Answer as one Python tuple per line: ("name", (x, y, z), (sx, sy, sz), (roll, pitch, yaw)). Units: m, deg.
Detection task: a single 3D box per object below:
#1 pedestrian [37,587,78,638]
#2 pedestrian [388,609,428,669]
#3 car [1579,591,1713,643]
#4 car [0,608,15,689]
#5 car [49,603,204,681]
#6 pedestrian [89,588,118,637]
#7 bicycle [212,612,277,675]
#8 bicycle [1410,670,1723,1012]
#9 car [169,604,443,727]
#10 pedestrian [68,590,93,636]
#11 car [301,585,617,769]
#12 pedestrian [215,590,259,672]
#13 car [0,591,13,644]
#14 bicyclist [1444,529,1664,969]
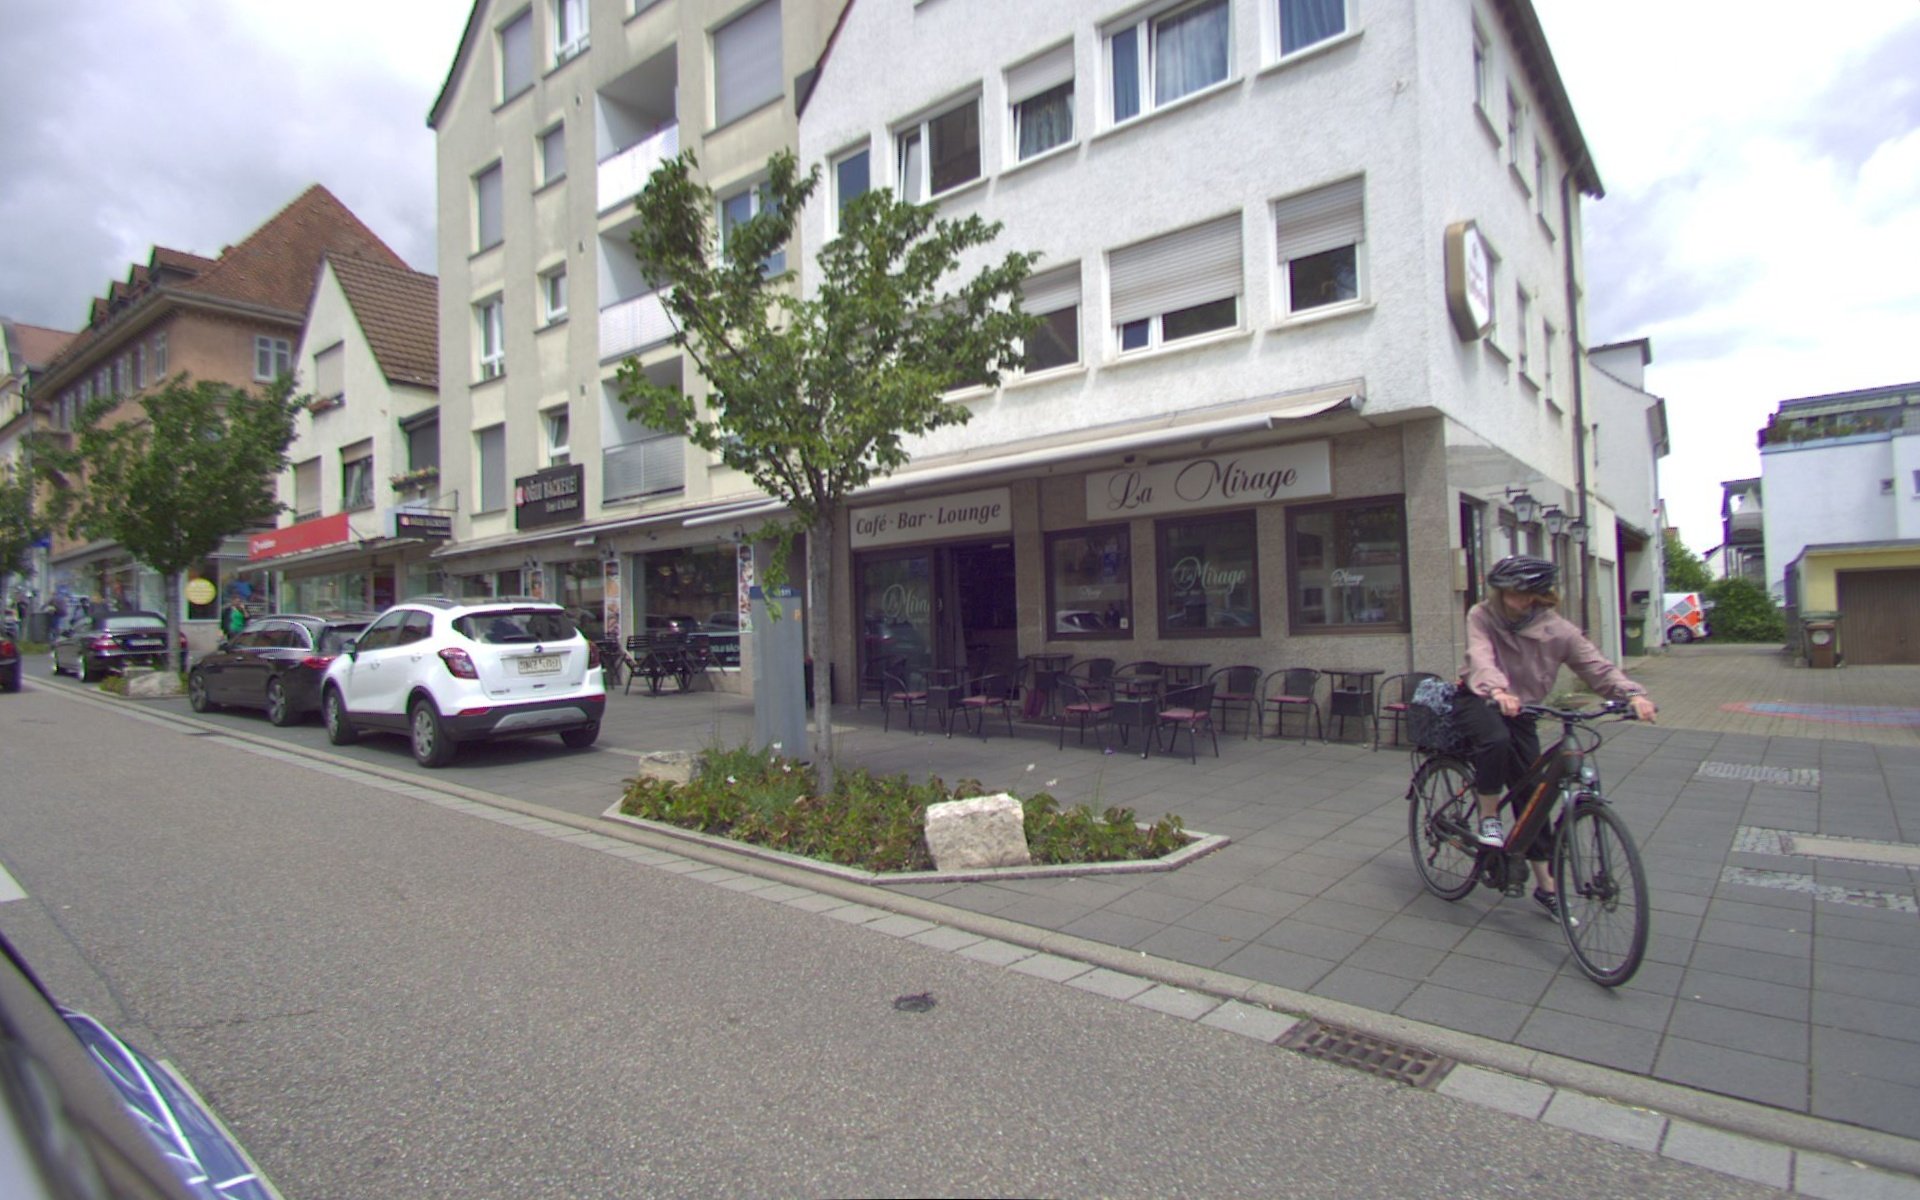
("pedestrian", (-30.469, 0.419, 34.159), (0.905, 1.679, 0.862), (1, 0, 36))
("pedestrian", (-11.875, 0.820, 21.771), (0.598, 1.256, 0.590), (0, 0, 38))
("car", (25.110, 0.631, 37.202), (3.935, 1.820, 1.483), (-2, -1, 30))
("car", (-18.568, 0.830, 18.357), (3.625, 1.399, 1.590), (0, -2, 40))
("car", (-17.333, 0.792, 20.978), (4.439, 1.402, 1.640), (1, 0, 39))
("pedestrian", (-28.487, 0.416, 33.656), (0.641, 1.594, 0.608), (1, 0, 36))
("bicycle", (-13.666, 0.803, 19.314), (1.905, 1.115, 0.479), (0, 0, 38))
("bicycle", (2.471, 0.888, 4.340), (0.408, 1.096, 1.652), (1, -1, 3))
("car", (-9.516, 0.817, 14.600), (4.506, 1.462, 1.823), (0, 1, 36))
("pedestrian", (-28.851, 0.425, 33.203), (0.527, 1.489, 0.491), (1, 0, 36))
("car", (-5.641, 0.699, 11.168), (4.131, 1.659, 1.648), (0, 1, 41))
("pedestrian", (-15.977, 0.665, 22.370), (0.778, 1.774, 0.653), (1, 0, 44))
("car", (-31.394, 0.503, 31.708), (4.447, 1.585, 1.710), (1, 0, 36))
("bicyclist", (2.507, 0.586, 4.354), (0.503, 1.708, 0.777), (0, -2, 4))
